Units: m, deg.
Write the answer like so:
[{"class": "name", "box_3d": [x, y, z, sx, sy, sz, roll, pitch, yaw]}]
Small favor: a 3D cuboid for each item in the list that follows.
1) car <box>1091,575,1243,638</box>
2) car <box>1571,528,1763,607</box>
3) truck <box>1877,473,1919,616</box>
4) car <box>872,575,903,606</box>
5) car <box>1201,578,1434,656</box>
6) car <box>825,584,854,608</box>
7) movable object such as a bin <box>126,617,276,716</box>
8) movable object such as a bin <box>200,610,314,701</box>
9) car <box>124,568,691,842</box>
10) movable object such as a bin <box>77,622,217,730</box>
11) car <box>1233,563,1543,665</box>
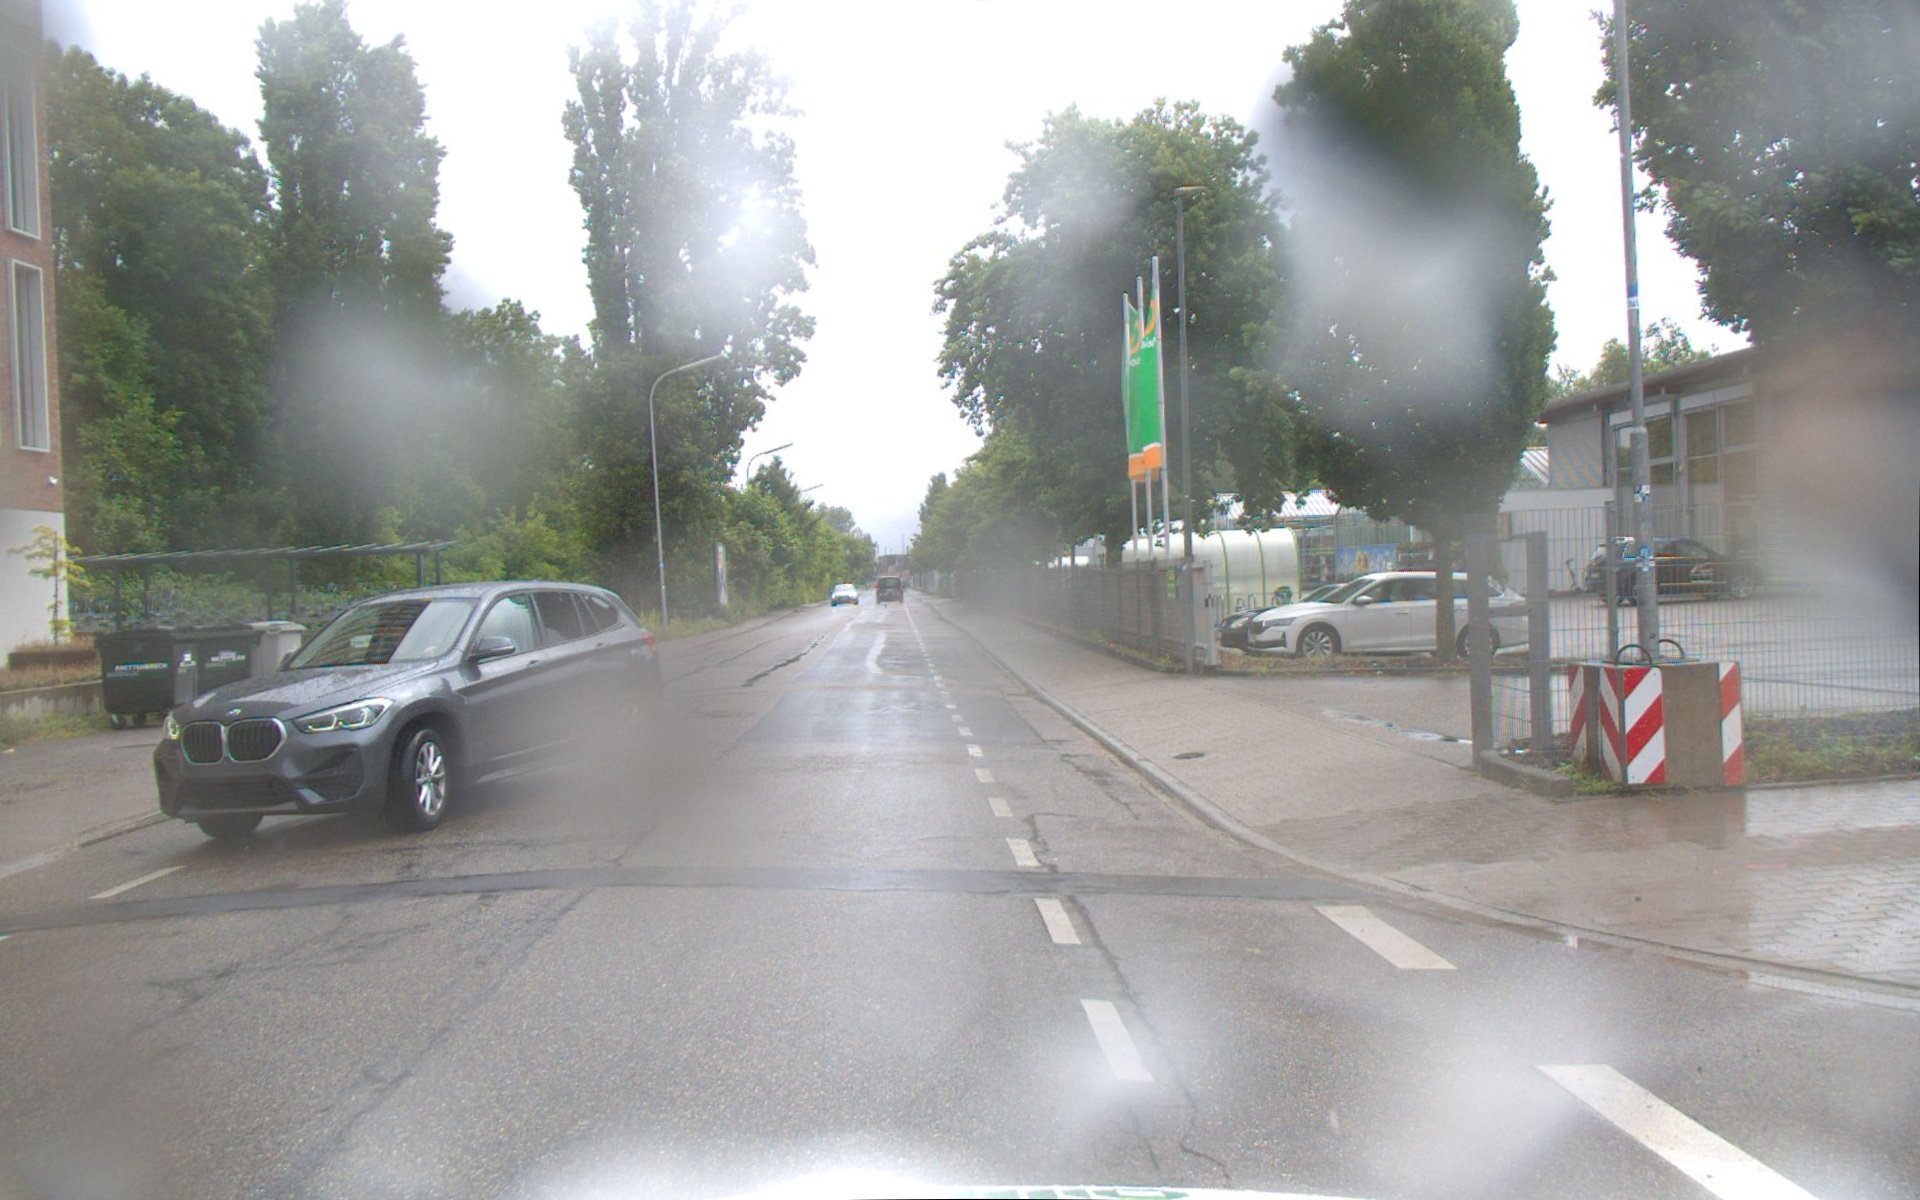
[{"class": "car", "box_3d": [6.028, 0.170, 48.435, 4.125, 1.628, 1.823, -3, 1, -4]}, {"class": "car", "box_3d": [19.115, -0.874, 44.836, 4.274, 1.864, 2.063, -3, 1, -1]}, {"class": "truck", "box_3d": [19.174, -1.094, 28.806, 2.254, 2.705, 7.417, -4, 1, 1]}, {"class": "car", "box_3d": [-4.823, -0.601, 109.565, 1.954, 1.943, 4.198, -3, 0, -3]}, {"class": "car", "box_3d": [6.482, 0.295, 30.202, 3.860, 1.278, 1.618, -2, 0, -4]}, {"class": "car", "box_3d": [-8.239, -0.285, 113.594, 1.699, 1.475, 4.379, -5, 1, -2]}, {"class": "movable object such as a bin", "box_3d": [-11.131, 0.966, 24.299, 1.345, 1.331, 1.449, -2, 0, 19]}, {"class": "movable object such as a bin", "box_3d": [-11.376, 0.878, 26.813, 1.270, 1.355, 1.357, -2, 0, -4]}, {"class": "car", "box_3d": [-3.877, 0.655, 12.442, 1.723, 1.596, 4.151, -4, 0, 21]}, {"class": "movable object such as a bin", "box_3d": [-11.024, 1.007, 22.509, 1.271, 1.331, 1.446, -2, 0, -9]}, {"class": "car", "box_3d": [7.044, 0.210, 27.499, 4.610, 1.488, 1.889, -2, 0, -4]}]
